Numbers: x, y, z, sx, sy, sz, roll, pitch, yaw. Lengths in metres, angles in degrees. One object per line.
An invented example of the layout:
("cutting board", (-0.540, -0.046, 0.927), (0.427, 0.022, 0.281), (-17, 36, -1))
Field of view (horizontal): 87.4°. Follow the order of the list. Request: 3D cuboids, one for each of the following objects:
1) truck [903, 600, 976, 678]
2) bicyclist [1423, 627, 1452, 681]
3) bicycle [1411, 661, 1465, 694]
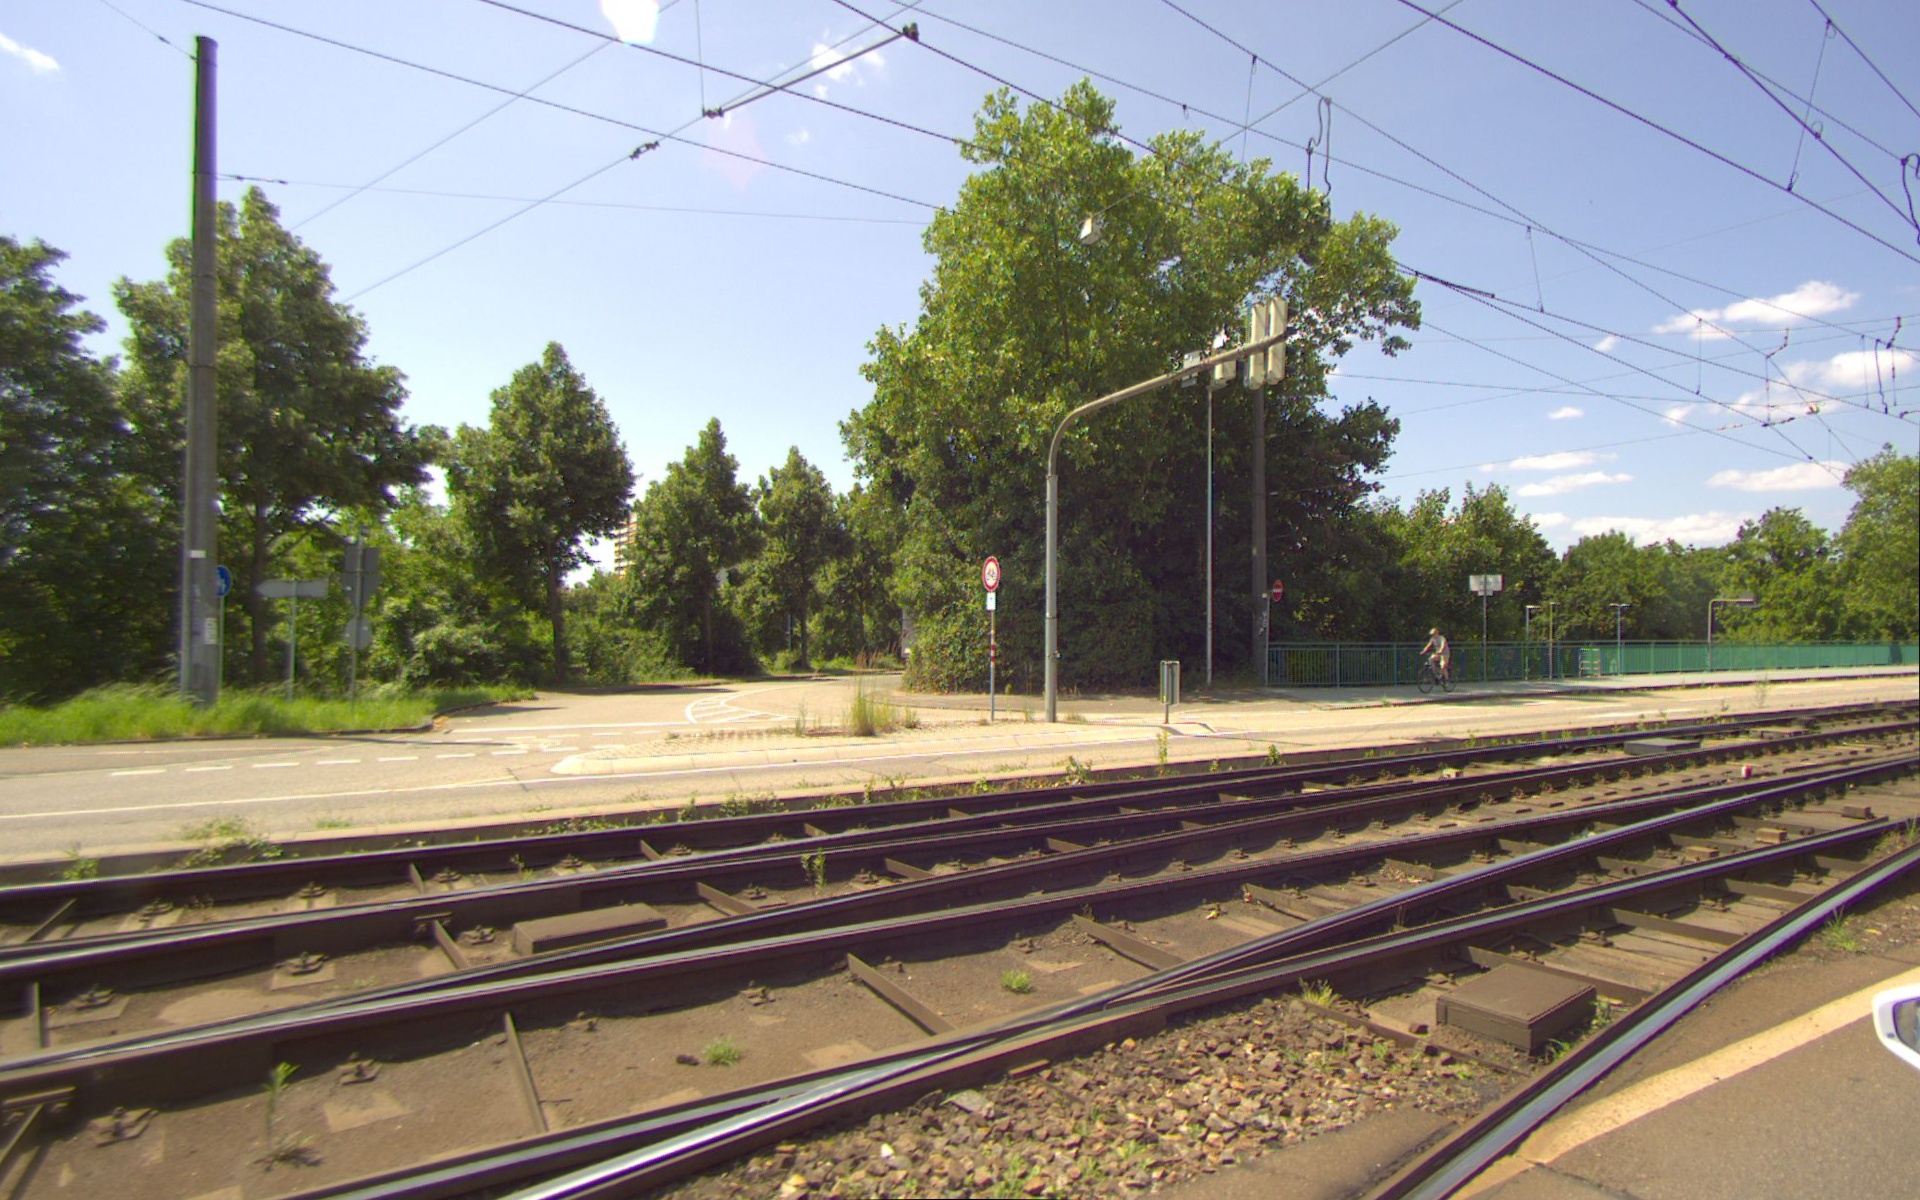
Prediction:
("truck", (-0.967, 2.056, 50.891), (2.790, 3.702, 5.297), (-1, -3, 9))
("bicyclist", (13.398, 1.495, 28.171), (0.625, 1.493, 0.454), (1, -1, -29))
("bicycle", (13.418, 2.161, 28.172), (1.721, 0.879, 0.467), (1, -2, -29))
